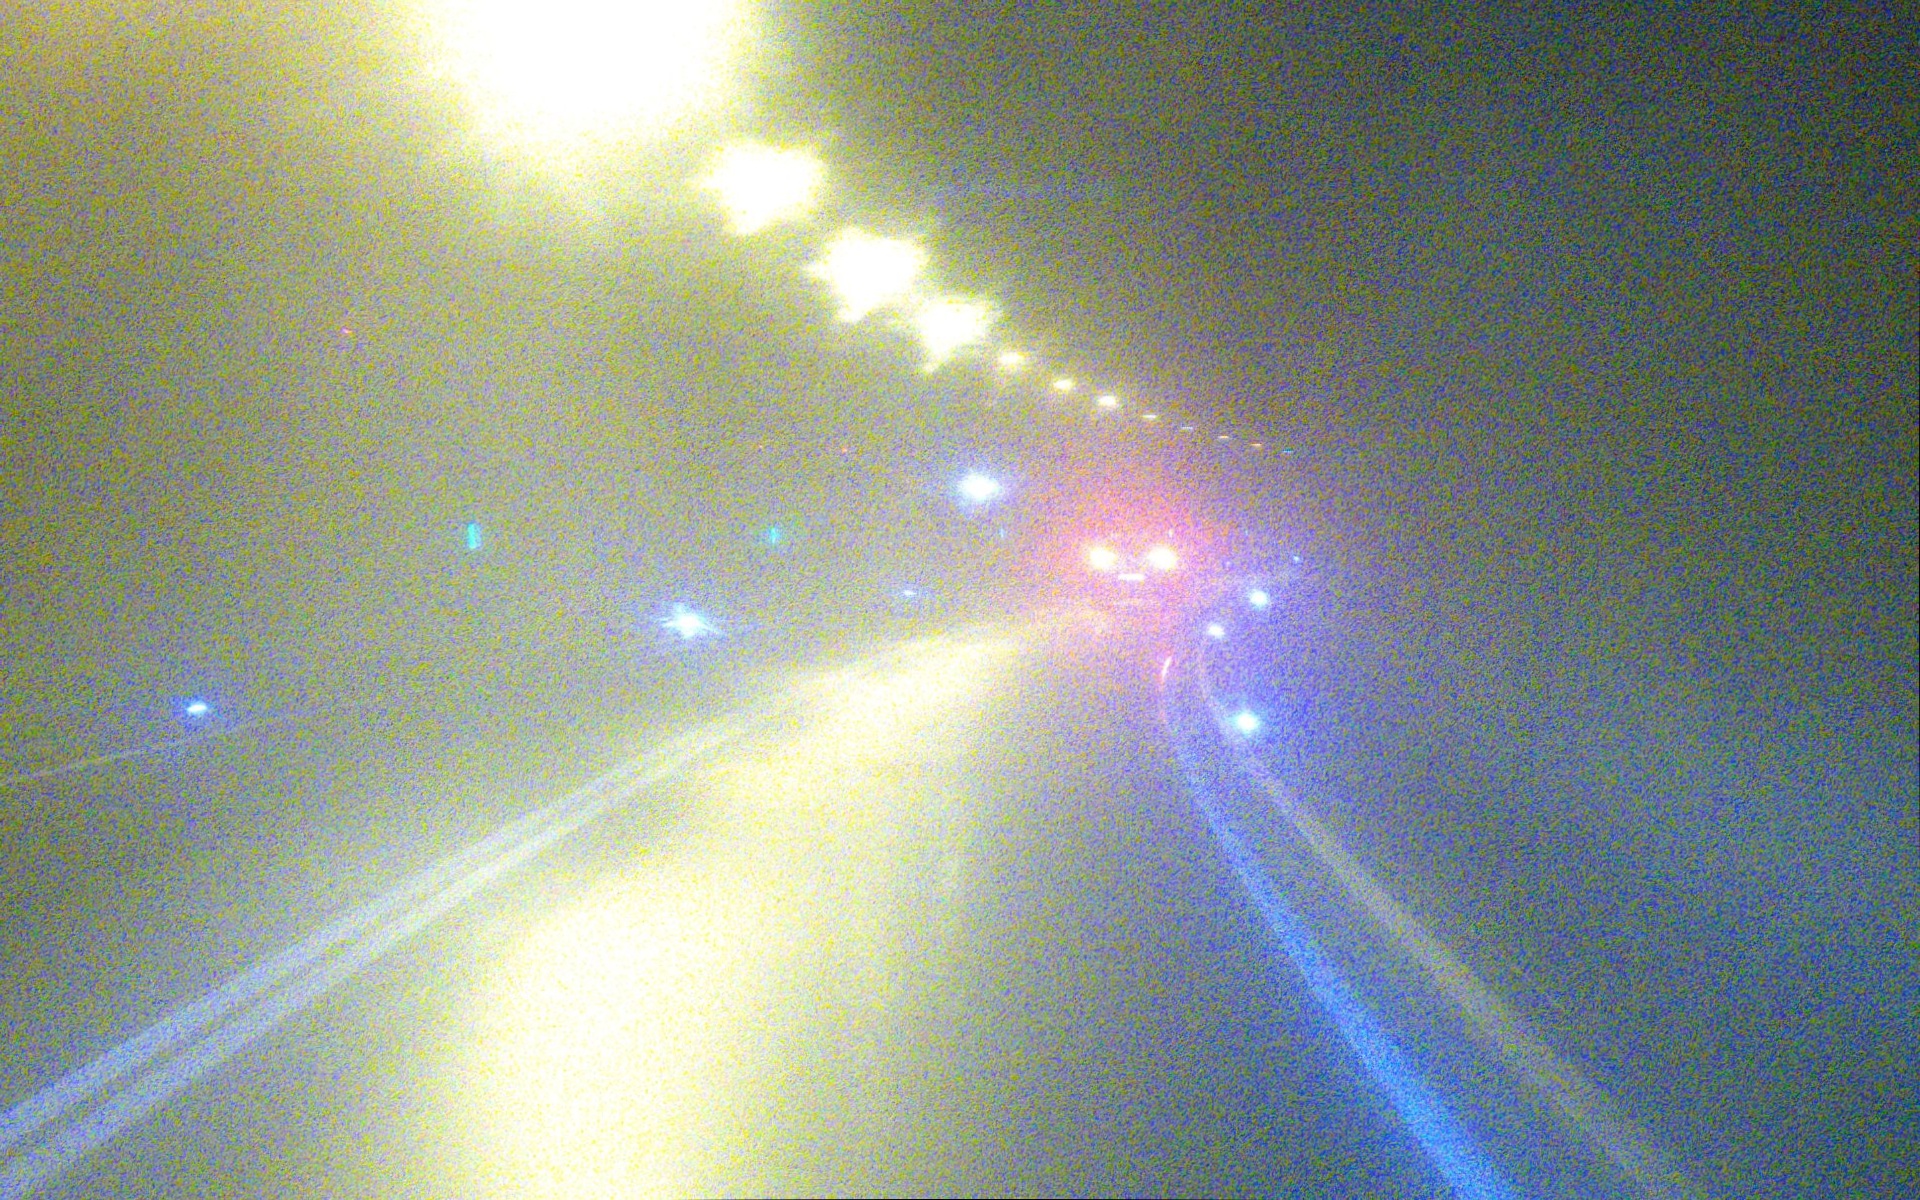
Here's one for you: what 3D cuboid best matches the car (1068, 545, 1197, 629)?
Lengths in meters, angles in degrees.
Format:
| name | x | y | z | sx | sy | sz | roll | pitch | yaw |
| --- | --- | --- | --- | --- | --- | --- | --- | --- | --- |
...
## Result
| name | x | y | z | sx | sy | sz | roll | pitch | yaw |
| --- | --- | --- | --- | --- | --- | --- | --- | --- | --- |
| car | 3.674 | -0.284 | 72.592 | 2.091 | 1.656 | 3.998 | 2 | 1 | 12 |
